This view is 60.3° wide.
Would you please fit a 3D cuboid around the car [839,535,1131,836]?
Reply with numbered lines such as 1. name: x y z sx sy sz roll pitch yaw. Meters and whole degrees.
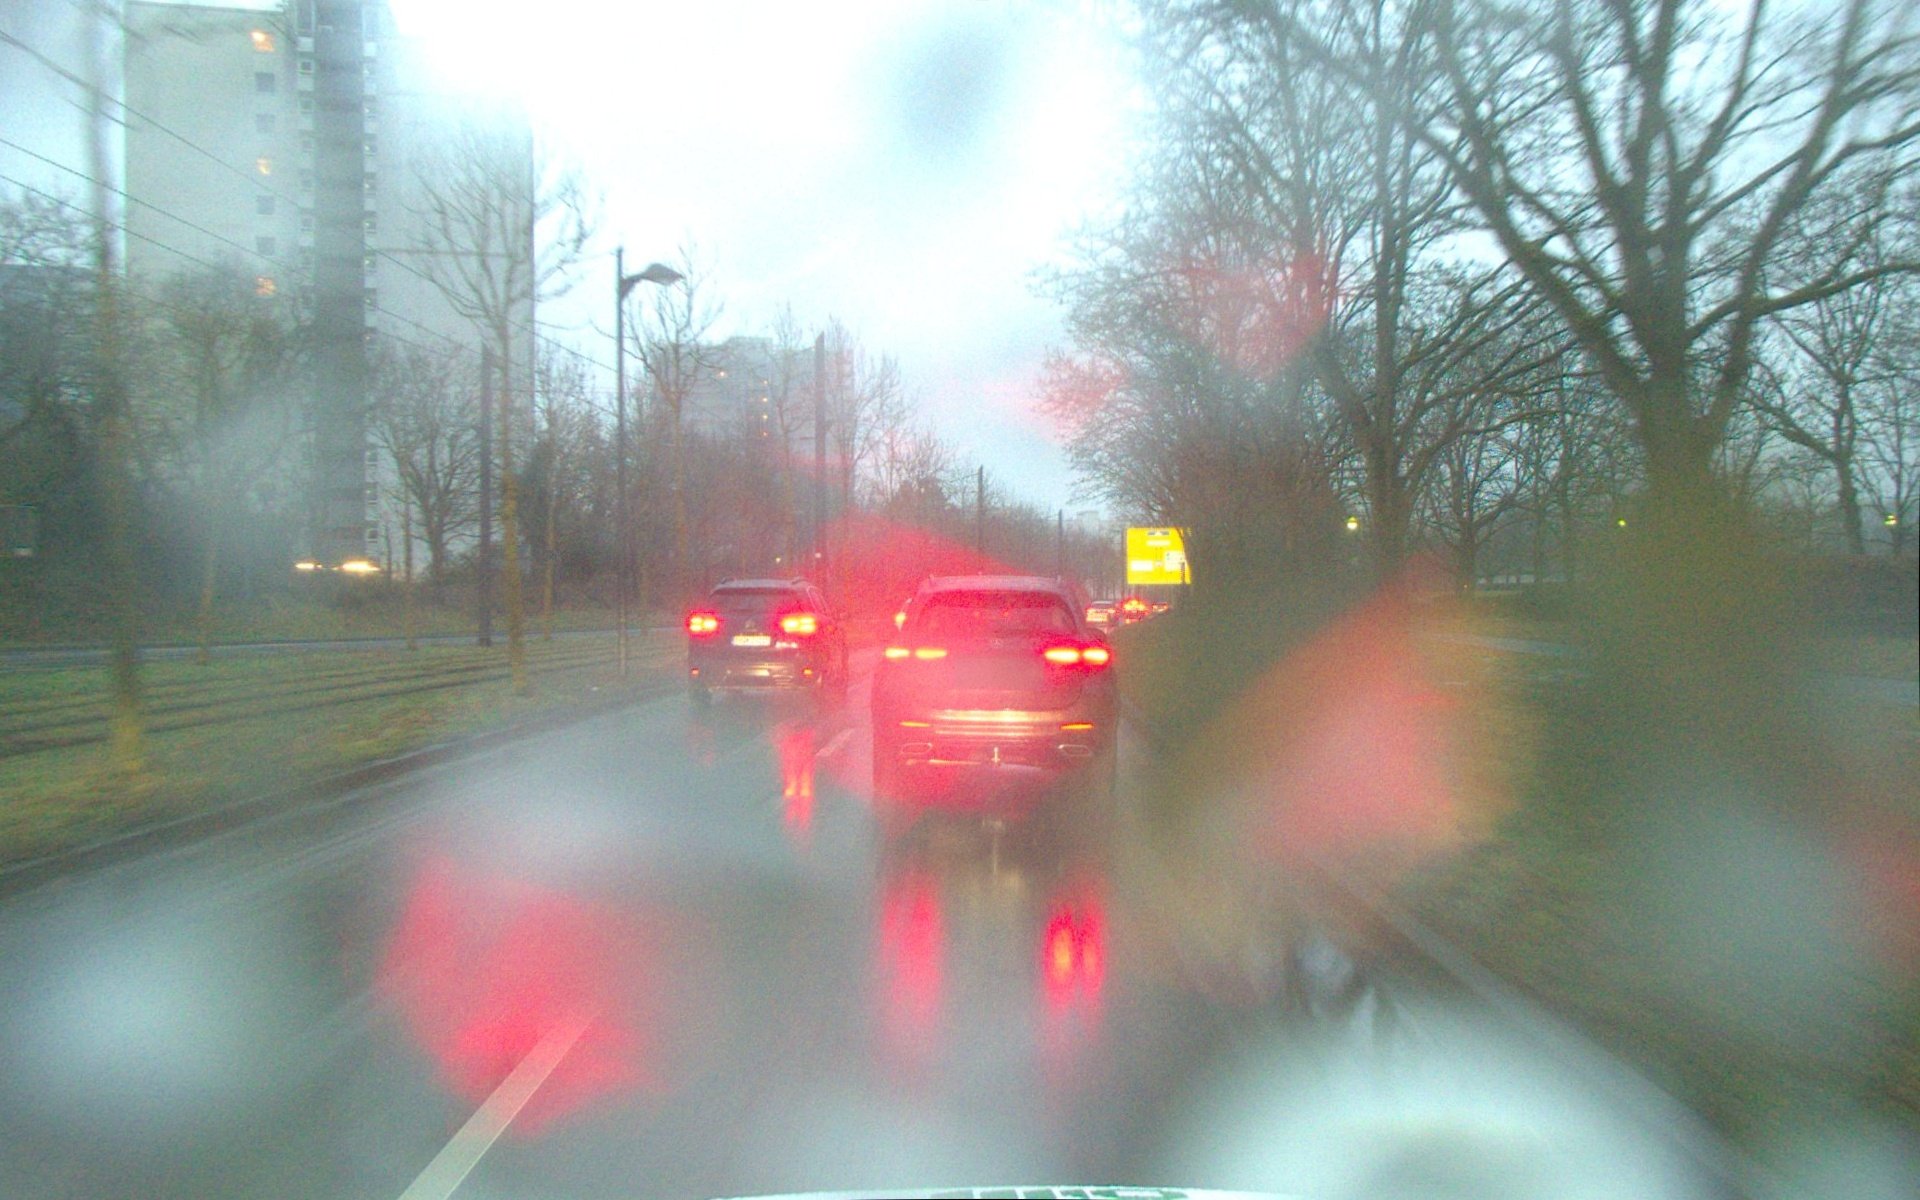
1. car: 0.183 0.626 13.248 1.952 2.010 4.068 1 -1 0

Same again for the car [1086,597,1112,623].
1. car: 8.507 0.621 100.951 1.502 1.540 3.344 1 -1 5

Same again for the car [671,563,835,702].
1. car: -2.794 0.466 23.213 1.954 1.742 4.321 1 -1 -3

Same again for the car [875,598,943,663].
1. car: -1.488 0.834 47.156 1.791 1.769 3.802 1 0 -4

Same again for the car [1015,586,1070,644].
1. car: 2.855 0.555 57.269 1.818 1.925 4.001 1 -1 3
